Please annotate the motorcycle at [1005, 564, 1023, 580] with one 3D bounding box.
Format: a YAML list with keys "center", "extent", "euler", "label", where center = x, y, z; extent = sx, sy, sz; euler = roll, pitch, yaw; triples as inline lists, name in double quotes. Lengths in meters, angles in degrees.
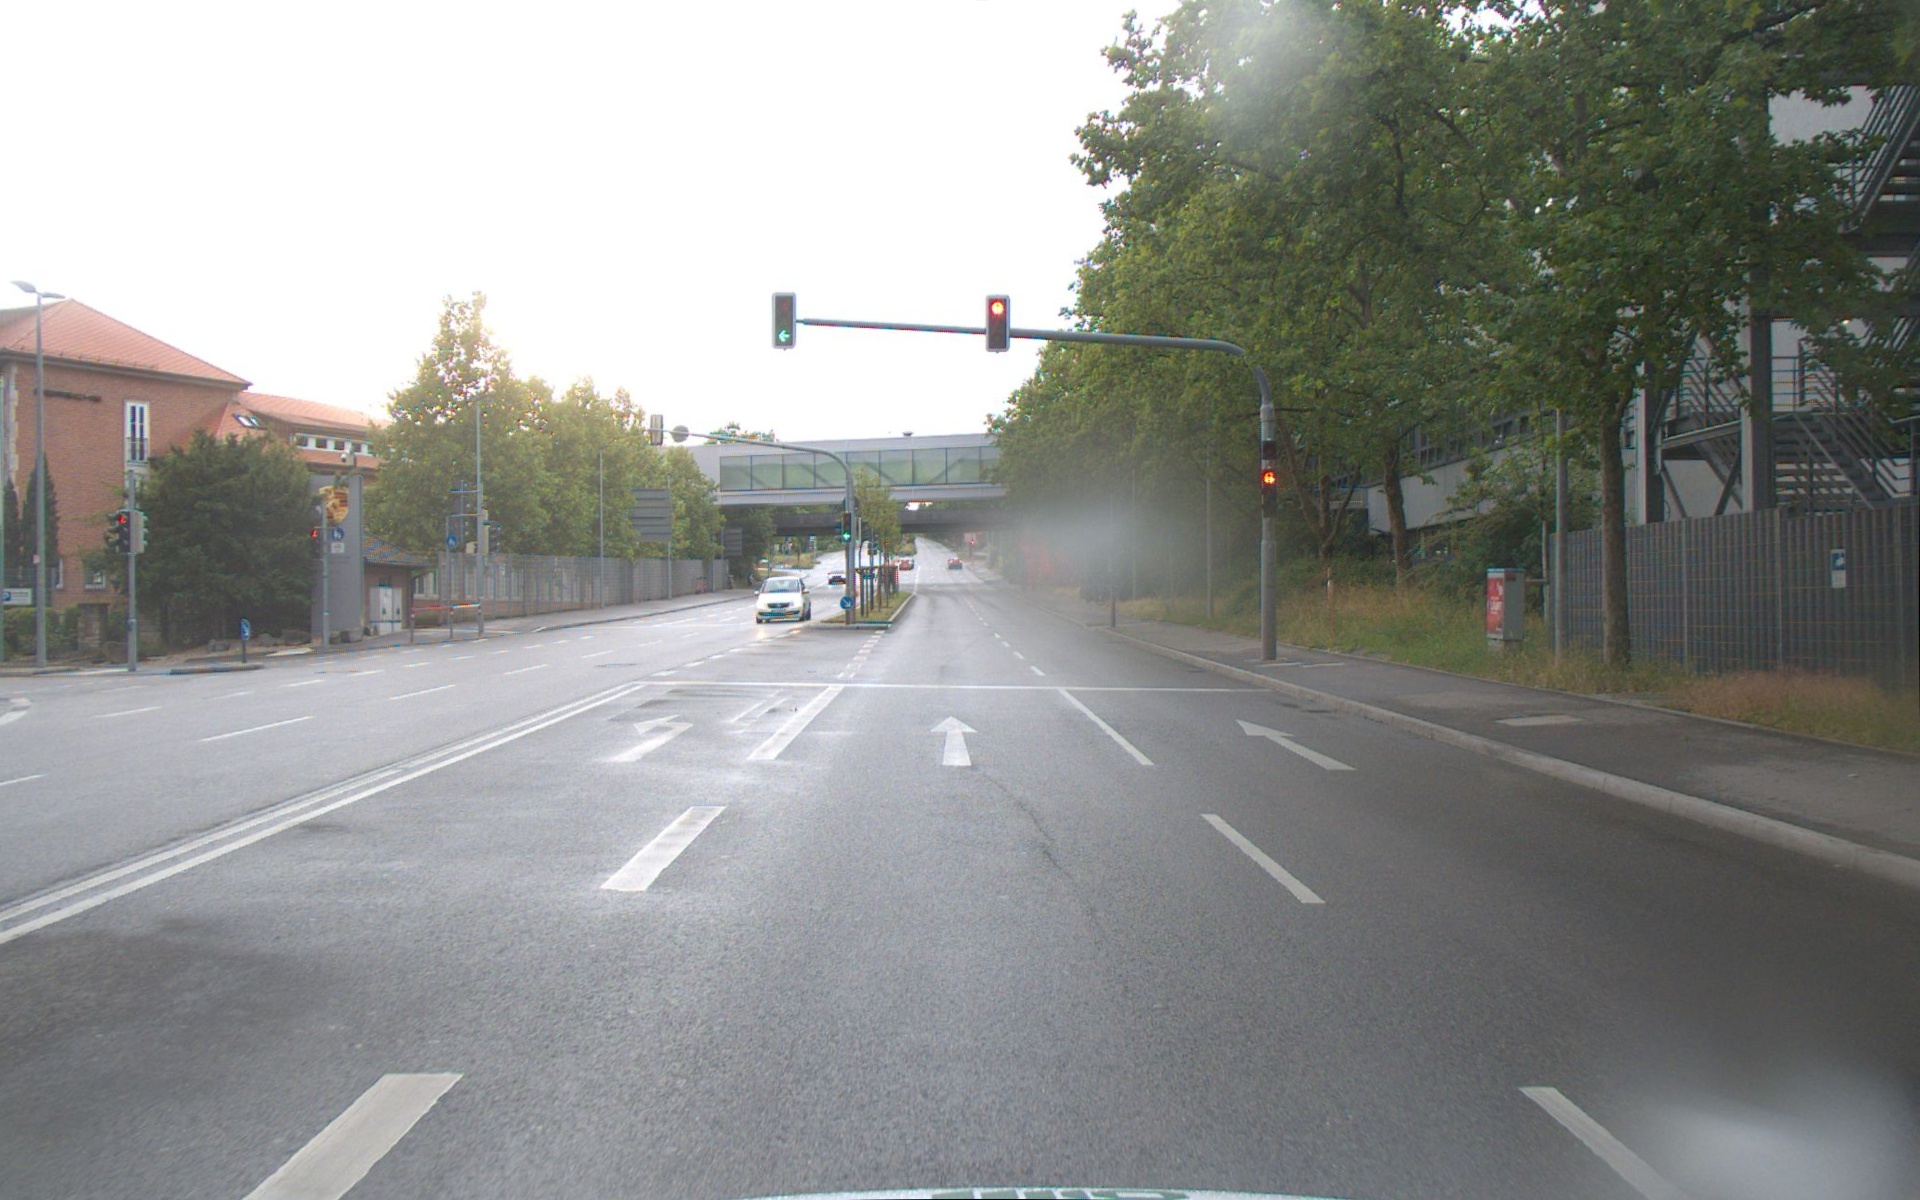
- center: [4.777, -2.450, 145.786]
  extent: [0.778, 1.334, 2.364]
  euler: [-2, 0, -18]
  label: "motorcycle"

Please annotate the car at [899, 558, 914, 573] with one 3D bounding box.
- center: [-7.317, -4.741, 227.072]
  extent: [1.953, 1.792, 4.000]
  euler: [2, 0, 0]
  label: "car"

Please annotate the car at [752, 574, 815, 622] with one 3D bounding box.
- center: [-6.385, -0.102, 60.096]
  extent: [1.839, 1.653, 3.778]
  euler: [-1, 1, 0]
  label: "car"

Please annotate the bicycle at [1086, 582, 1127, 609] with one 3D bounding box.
- center: [7.171, -0.237, 81.167]
  extent: [1.949, 1.263, 0.541]
  euler: [2, -1, 0]
  label: "bicycle"

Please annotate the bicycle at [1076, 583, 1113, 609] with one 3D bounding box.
- center: [7.219, -0.228, 88.736]
  extent: [1.949, 1.352, 0.576]
  euler: [2, -1, 0]
  label: "bicycle"

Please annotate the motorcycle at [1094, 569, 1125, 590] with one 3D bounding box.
- center: [11.549, -1.581, 127.382]
  extent: [2.318, 1.502, 0.723]
  euler: [-2, 0, 7]
  label: "motorcycle"

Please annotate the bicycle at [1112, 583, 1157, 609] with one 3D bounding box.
- center: [7.886, -0.185, 74.753]
  extent: [1.949, 1.114, 0.541]
  euler: [2, -1, 0]
  label: "bicycle"

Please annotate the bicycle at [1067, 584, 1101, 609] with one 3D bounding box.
- center: [7.093, -0.192, 94.653]
  extent: [1.922, 1.352, 0.654]
  euler: [2, -1, 0]
  label: "bicycle"

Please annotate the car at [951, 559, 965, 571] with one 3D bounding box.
- center: [-0.313, -4.728, 223.214]
  extent: [1.837, 1.523, 4.068]
  euler: [2, 0, 0]
  label: "car"

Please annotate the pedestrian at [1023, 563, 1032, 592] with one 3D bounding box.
- center: [4.791, -1.618, 117.400]
  extent: [0.609, 2.049, 0.605]
  euler: [-1, 0, 0]
  label: "pedestrian"

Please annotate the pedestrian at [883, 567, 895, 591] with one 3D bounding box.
- center: [-6.158, -1.803, 143.394]
  extent: [0.836, 2.039, 0.873]
  euler: [-2, 0, -9]
  label: "pedestrian"

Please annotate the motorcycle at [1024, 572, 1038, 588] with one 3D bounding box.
- center: [6.045, -1.686, 140.731]
  extent: [0.775, 1.334, 2.372]
  euler: [-2, 1, -9]
  label: "motorcycle"

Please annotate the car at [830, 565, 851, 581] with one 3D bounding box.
- center: [-12.054, -2.724, 167.432]
  extent: [1.839, 1.653, 3.778]
  euler: [-1, 1, 0]
  label: "car"

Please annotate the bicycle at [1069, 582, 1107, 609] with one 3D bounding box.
- center: [6.671, -0.249, 86.202]
  extent: [1.949, 1.352, 0.576]
  euler: [2, -1, 0]
  label: "bicycle"

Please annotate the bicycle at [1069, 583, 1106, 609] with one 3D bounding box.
- center: [6.894, -0.221, 89.446]
  extent: [1.949, 1.352, 0.576]
  euler: [2, -1, 0]
  label: "bicycle"

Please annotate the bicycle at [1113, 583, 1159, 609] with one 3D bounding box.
- center: [7.888, -0.189, 74.184]
  extent: [1.949, 1.114, 0.541]
  euler: [2, -1, 0]
  label: "bicycle"

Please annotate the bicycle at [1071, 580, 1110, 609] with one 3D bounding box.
- center: [6.929, -0.294, 87.881]
  extent: [1.949, 1.455, 0.723]
  euler: [2, -1, 0]
  label: "bicycle"

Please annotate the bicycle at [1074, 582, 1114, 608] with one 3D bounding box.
- center: [6.766, -0.233, 83.488]
  extent: [1.949, 1.263, 0.541]
  euler: [2, -1, 0]
  label: "bicycle"

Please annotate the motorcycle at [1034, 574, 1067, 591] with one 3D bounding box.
- center: [6.664, -1.281, 121.864]
  extent: [2.318, 1.223, 0.723]
  euler: [-2, 0, 7]
  label: "motorcycle"

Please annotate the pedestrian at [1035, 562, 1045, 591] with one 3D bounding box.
- center: [5.665, -1.685, 117.239]
  extent: [0.609, 2.049, 0.605]
  euler: [-1, 0, 0]
  label: "pedestrian"

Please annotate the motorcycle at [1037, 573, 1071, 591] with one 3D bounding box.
- center: [6.729, -1.307, 118.400]
  extent: [2.318, 1.223, 0.723]
  euler: [-2, 0, 7]
  label: "motorcycle"

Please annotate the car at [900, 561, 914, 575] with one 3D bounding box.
- center: [-7.451, -4.552, 232.645]
  extent: [1.846, 1.792, 3.968]
  euler: [2, 0, 0]
  label: "car"

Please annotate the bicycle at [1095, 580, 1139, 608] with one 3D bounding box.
- center: [7.211, -0.256, 76.209]
  extent: [1.949, 1.237, 0.541]
  euler: [2, -1, 0]
  label: "bicycle"

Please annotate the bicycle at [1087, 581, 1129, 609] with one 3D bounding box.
- center: [7.132, -0.246, 79.961]
  extent: [1.949, 1.263, 0.541]
  euler: [2, -1, 0]
  label: "bicycle"
